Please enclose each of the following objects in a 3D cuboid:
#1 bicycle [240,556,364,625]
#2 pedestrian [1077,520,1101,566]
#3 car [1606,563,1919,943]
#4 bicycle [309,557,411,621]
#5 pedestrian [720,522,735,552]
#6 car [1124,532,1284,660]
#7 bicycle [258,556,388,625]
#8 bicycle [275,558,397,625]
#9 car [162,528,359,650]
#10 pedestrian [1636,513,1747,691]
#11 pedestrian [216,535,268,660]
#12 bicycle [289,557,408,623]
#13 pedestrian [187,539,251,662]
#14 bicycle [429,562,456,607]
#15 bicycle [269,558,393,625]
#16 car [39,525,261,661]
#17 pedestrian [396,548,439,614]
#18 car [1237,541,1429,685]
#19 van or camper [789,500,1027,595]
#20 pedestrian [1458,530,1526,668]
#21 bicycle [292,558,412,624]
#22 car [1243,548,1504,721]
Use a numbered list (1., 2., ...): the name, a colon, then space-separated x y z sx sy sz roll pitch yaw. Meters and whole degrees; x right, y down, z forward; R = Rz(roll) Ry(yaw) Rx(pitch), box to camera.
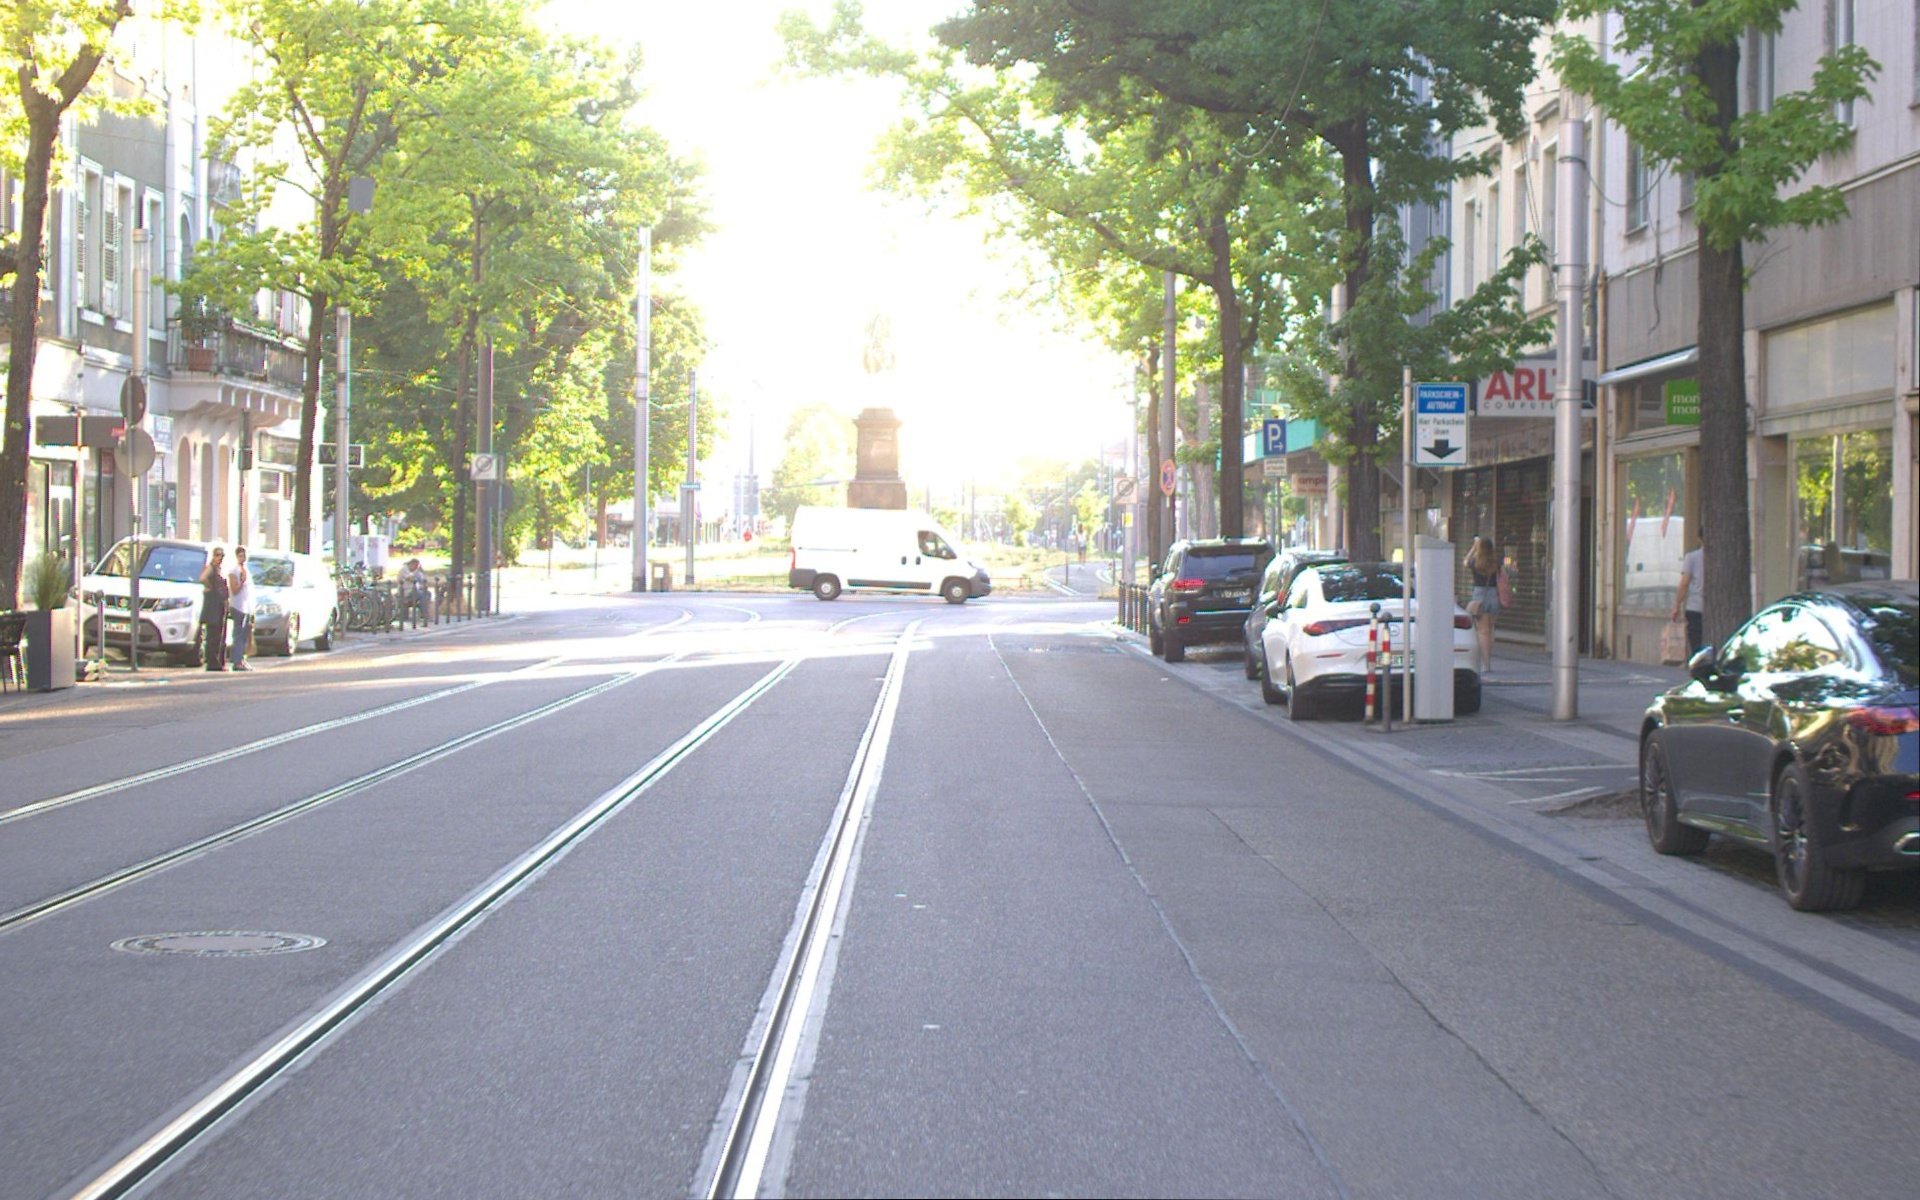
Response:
1. bicycle: -11.229 -0.158 58.682 1.945 1.101 0.567 2 0 -25
2. pedestrian: 4.575 -2.033 122.312 0.637 1.600 0.771 1 1 20
3. car: 4.505 0.595 16.384 1.833 1.473 4.762 -1 1 -1
4. bicycle: -11.037 -0.203 63.193 2.028 1.101 0.500 2 0 35
5. pedestrian: -12.298 -3.339 181.970 0.769 1.600 0.638 0 1 -7
6. car: 3.622 -0.101 51.790 1.938 1.753 4.680 -3 1 0
7. bicycle: -11.044 -0.166 59.630 2.108 1.101 0.501 2 0 -25
8. bicycle: -11.045 -0.151 60.856 2.023 1.101 0.501 2 0 -25
9. car: -10.226 -0.191 50.616 1.836 1.574 4.702 4 1 0
10. pedestrian: 7.401 0.011 34.820 0.858 1.747 0.933 -3 1 0
11. pedestrian: -9.007 -0.031 43.136 0.521 1.564 0.634 0 0 0
12. bicycle: -11.078 -0.182 62.321 2.024 1.101 0.501 2 0 2
13. pedestrian: -9.117 0.006 42.319 0.620 1.504 0.729 0 0 0
14. bicycle: -11.125 -0.342 73.922 0.336 0.942 1.510 0 1 0
15. bicycle: -11.016 -0.144 60.213 2.023 1.101 0.501 2 0 -25
16. car: -10.604 -0.123 45.290 1.836 1.574 4.116 4 1 0
17. pedestrian: -10.820 -0.385 68.615 0.728 1.286 0.857 1 1 -3
18. car: 4.503 0.119 42.003 1.776 1.585 3.892 -3 1 -1
19. van or camper: -1.376 -1.419 92.517 6.299 2.464 2.616 0 1 0
20. pedestrian: 6.546 -0.019 42.321 0.643 1.664 0.786 -3 1 0
21. bicycle: -10.912 -0.167 61.735 2.024 1.101 0.501 2 0 2
22. car: 4.028 0.283 34.212 1.993 1.493 4.680 -3 1 0
